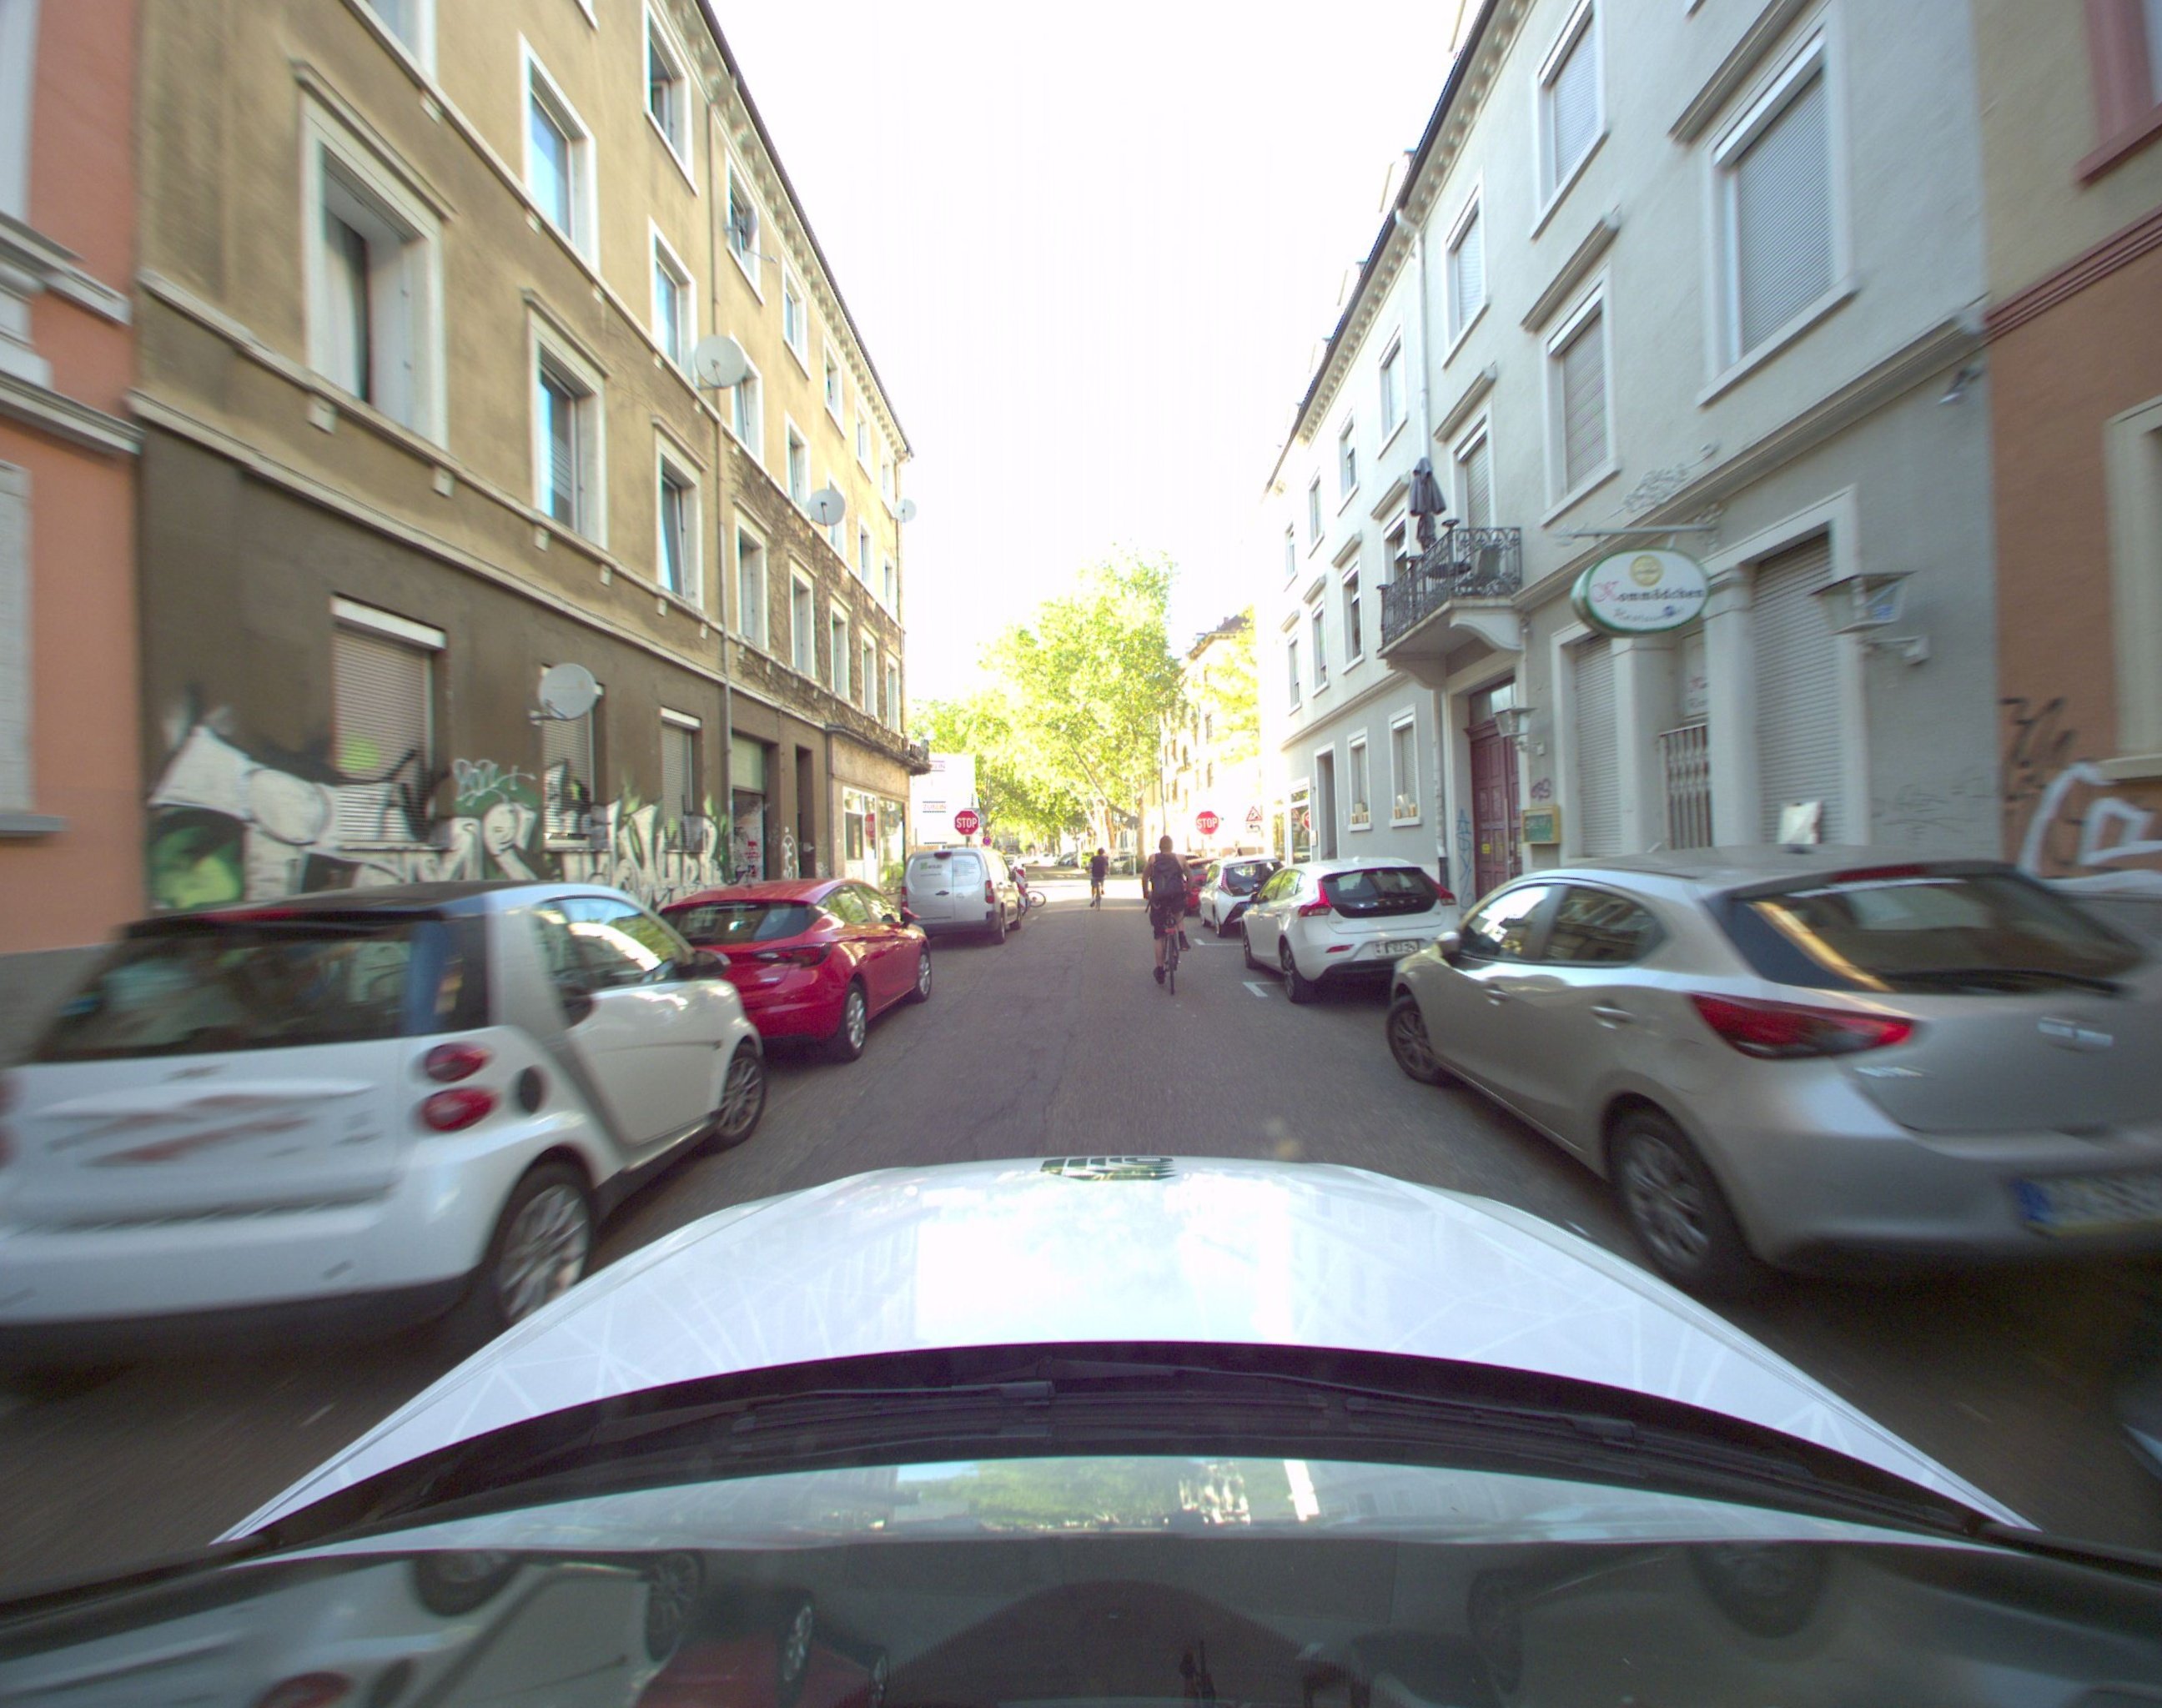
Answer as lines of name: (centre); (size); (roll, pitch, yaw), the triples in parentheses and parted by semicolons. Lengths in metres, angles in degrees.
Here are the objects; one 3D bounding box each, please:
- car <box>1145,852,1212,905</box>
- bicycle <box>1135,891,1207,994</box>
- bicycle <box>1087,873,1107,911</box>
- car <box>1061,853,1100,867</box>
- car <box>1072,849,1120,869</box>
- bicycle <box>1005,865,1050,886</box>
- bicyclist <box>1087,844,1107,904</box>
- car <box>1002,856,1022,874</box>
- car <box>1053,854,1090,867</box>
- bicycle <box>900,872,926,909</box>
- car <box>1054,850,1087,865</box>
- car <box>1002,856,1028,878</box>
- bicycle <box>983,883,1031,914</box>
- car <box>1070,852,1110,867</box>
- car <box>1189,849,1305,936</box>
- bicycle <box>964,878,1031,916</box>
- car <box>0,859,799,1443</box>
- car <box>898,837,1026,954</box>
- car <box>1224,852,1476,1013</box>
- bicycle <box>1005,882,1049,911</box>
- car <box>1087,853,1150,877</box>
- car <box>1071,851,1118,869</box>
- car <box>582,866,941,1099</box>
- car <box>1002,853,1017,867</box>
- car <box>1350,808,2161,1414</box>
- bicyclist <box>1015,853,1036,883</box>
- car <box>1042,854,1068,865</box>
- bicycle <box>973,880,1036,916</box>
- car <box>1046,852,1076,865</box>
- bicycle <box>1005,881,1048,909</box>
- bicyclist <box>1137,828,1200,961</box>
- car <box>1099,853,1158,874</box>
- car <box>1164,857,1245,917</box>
car: (3.216, 0.769, 27.543); (1.755, 1.662, 4.196); (0, 0, 0)
bicycle: (1.031, 0.995, 9.695); (0.687, 1.016, 1.908); (0, 0, 1)
bicycle: (0.454, 1.078, 23.426); (0.550, 1.016, 1.628); (-1, -1, 0)
car: (-0.130, 0.720, 97.118); (4.457, 1.571, 1.724); (-2, 0, -7)
car: (1.443, 0.467, 78.659); (4.458, 1.836, 1.724); (-2, 0, -8)
bicycle: (-2.955, 1.189, 44.834); (2.419, 1.093, 0.894); (-2, -2, -6)
bicyclist: (0.449, 0.577, 23.330); (0.540, 1.688, 0.653); (-1, -1, 0)
car: (-6.491, 0.988, 76.750); (1.664, 1.562, 3.990); (-2, 0, -7)
car: (-1.224, 0.792, 104.270); (4.457, 1.571, 1.724); (-2, 0, -7)
bicycle: (-5.193, 1.119, 25.221); (0.396, 1.092, 1.591); (-2, -1, 1)
car: (-1.492, 0.486, 113.920); (4.457, 1.898, 1.724); (-2, 0, -7)
car: (-4.973, 0.960, 60.873); (1.642, 1.494, 3.990); (-4, 0, -7)
bicycle: (-2.261, 1.360, 24.838); (1.386, 0.818, 0.360); (-4, 0, -9)
car: (1.033, 0.659, 94.028); (4.457, 1.571, 1.724); (-2, 0, -7)
car: (3.301, 0.718, 16.850); (1.631, 1.587, 3.787); (0, 0, 0)
bicycle: (-2.266, 1.157, 22.148); (1.759, 0.961, 0.405); (-2, 0, -1)
car: (-2.645, 0.844, 3.769); (1.675, 1.549, 2.957); (-3, 0, -3)
car: (-2.238, 0.735, 16.521); (1.673, 1.910, 4.520); (-5, 0, 1)
car: (2.904, 0.743, 9.765); (1.673, 1.510, 4.190); (0, 0, 0)
bicycle: (-1.670, 1.310, 25.295); (1.308, 0.818, 0.354); (-2, 0, -9)
car: (2.755, 0.807, 60.757); (4.457, 1.571, 1.724); (-2, 0, -7)
car: (1.349, 0.572, 80.672); (4.457, 1.571, 1.724); (-2, 0, -7)
car: (-2.594, 0.926, 7.793); (1.674, 1.473, 4.202); (-4, 0, 0)
car: (-8.752, 0.738, 99.050); (1.664, 1.562, 4.604); (-2, 0, -7)
car: (2.819, 0.681, 4.252); (1.672, 1.597, 4.194); (0, 0, 3)
bicyclist: (-3.075, 0.774, 44.829); (1.095, 1.640, 0.894); (-2, -2, -6)
car: (-4.753, 1.066, 148.567); (4.457, 1.898, 1.724); (-2, 0, -7)
bicycle: (-2.218, 1.257, 23.521); (1.765, 0.961, 0.479); (-2, 0, -12)
car: (-3.193, 0.712, 129.367); (4.457, 1.898, 1.724); (-2, 0, -7)
bicycle: (-1.728, 1.289, 25.683); (1.308, 0.818, 0.370); (-2, 0, -9)
bicyclist: (1.017, 0.464, 9.591); (0.674, 1.513, 0.669); (0, 0, 1)
car: (3.802, 0.744, 65.715); (4.457, 1.571, 1.724); (-2, 0, -7)
car: (3.321, 0.855, 22.611); (1.640, 1.503, 3.954); (0, 0, 0)
